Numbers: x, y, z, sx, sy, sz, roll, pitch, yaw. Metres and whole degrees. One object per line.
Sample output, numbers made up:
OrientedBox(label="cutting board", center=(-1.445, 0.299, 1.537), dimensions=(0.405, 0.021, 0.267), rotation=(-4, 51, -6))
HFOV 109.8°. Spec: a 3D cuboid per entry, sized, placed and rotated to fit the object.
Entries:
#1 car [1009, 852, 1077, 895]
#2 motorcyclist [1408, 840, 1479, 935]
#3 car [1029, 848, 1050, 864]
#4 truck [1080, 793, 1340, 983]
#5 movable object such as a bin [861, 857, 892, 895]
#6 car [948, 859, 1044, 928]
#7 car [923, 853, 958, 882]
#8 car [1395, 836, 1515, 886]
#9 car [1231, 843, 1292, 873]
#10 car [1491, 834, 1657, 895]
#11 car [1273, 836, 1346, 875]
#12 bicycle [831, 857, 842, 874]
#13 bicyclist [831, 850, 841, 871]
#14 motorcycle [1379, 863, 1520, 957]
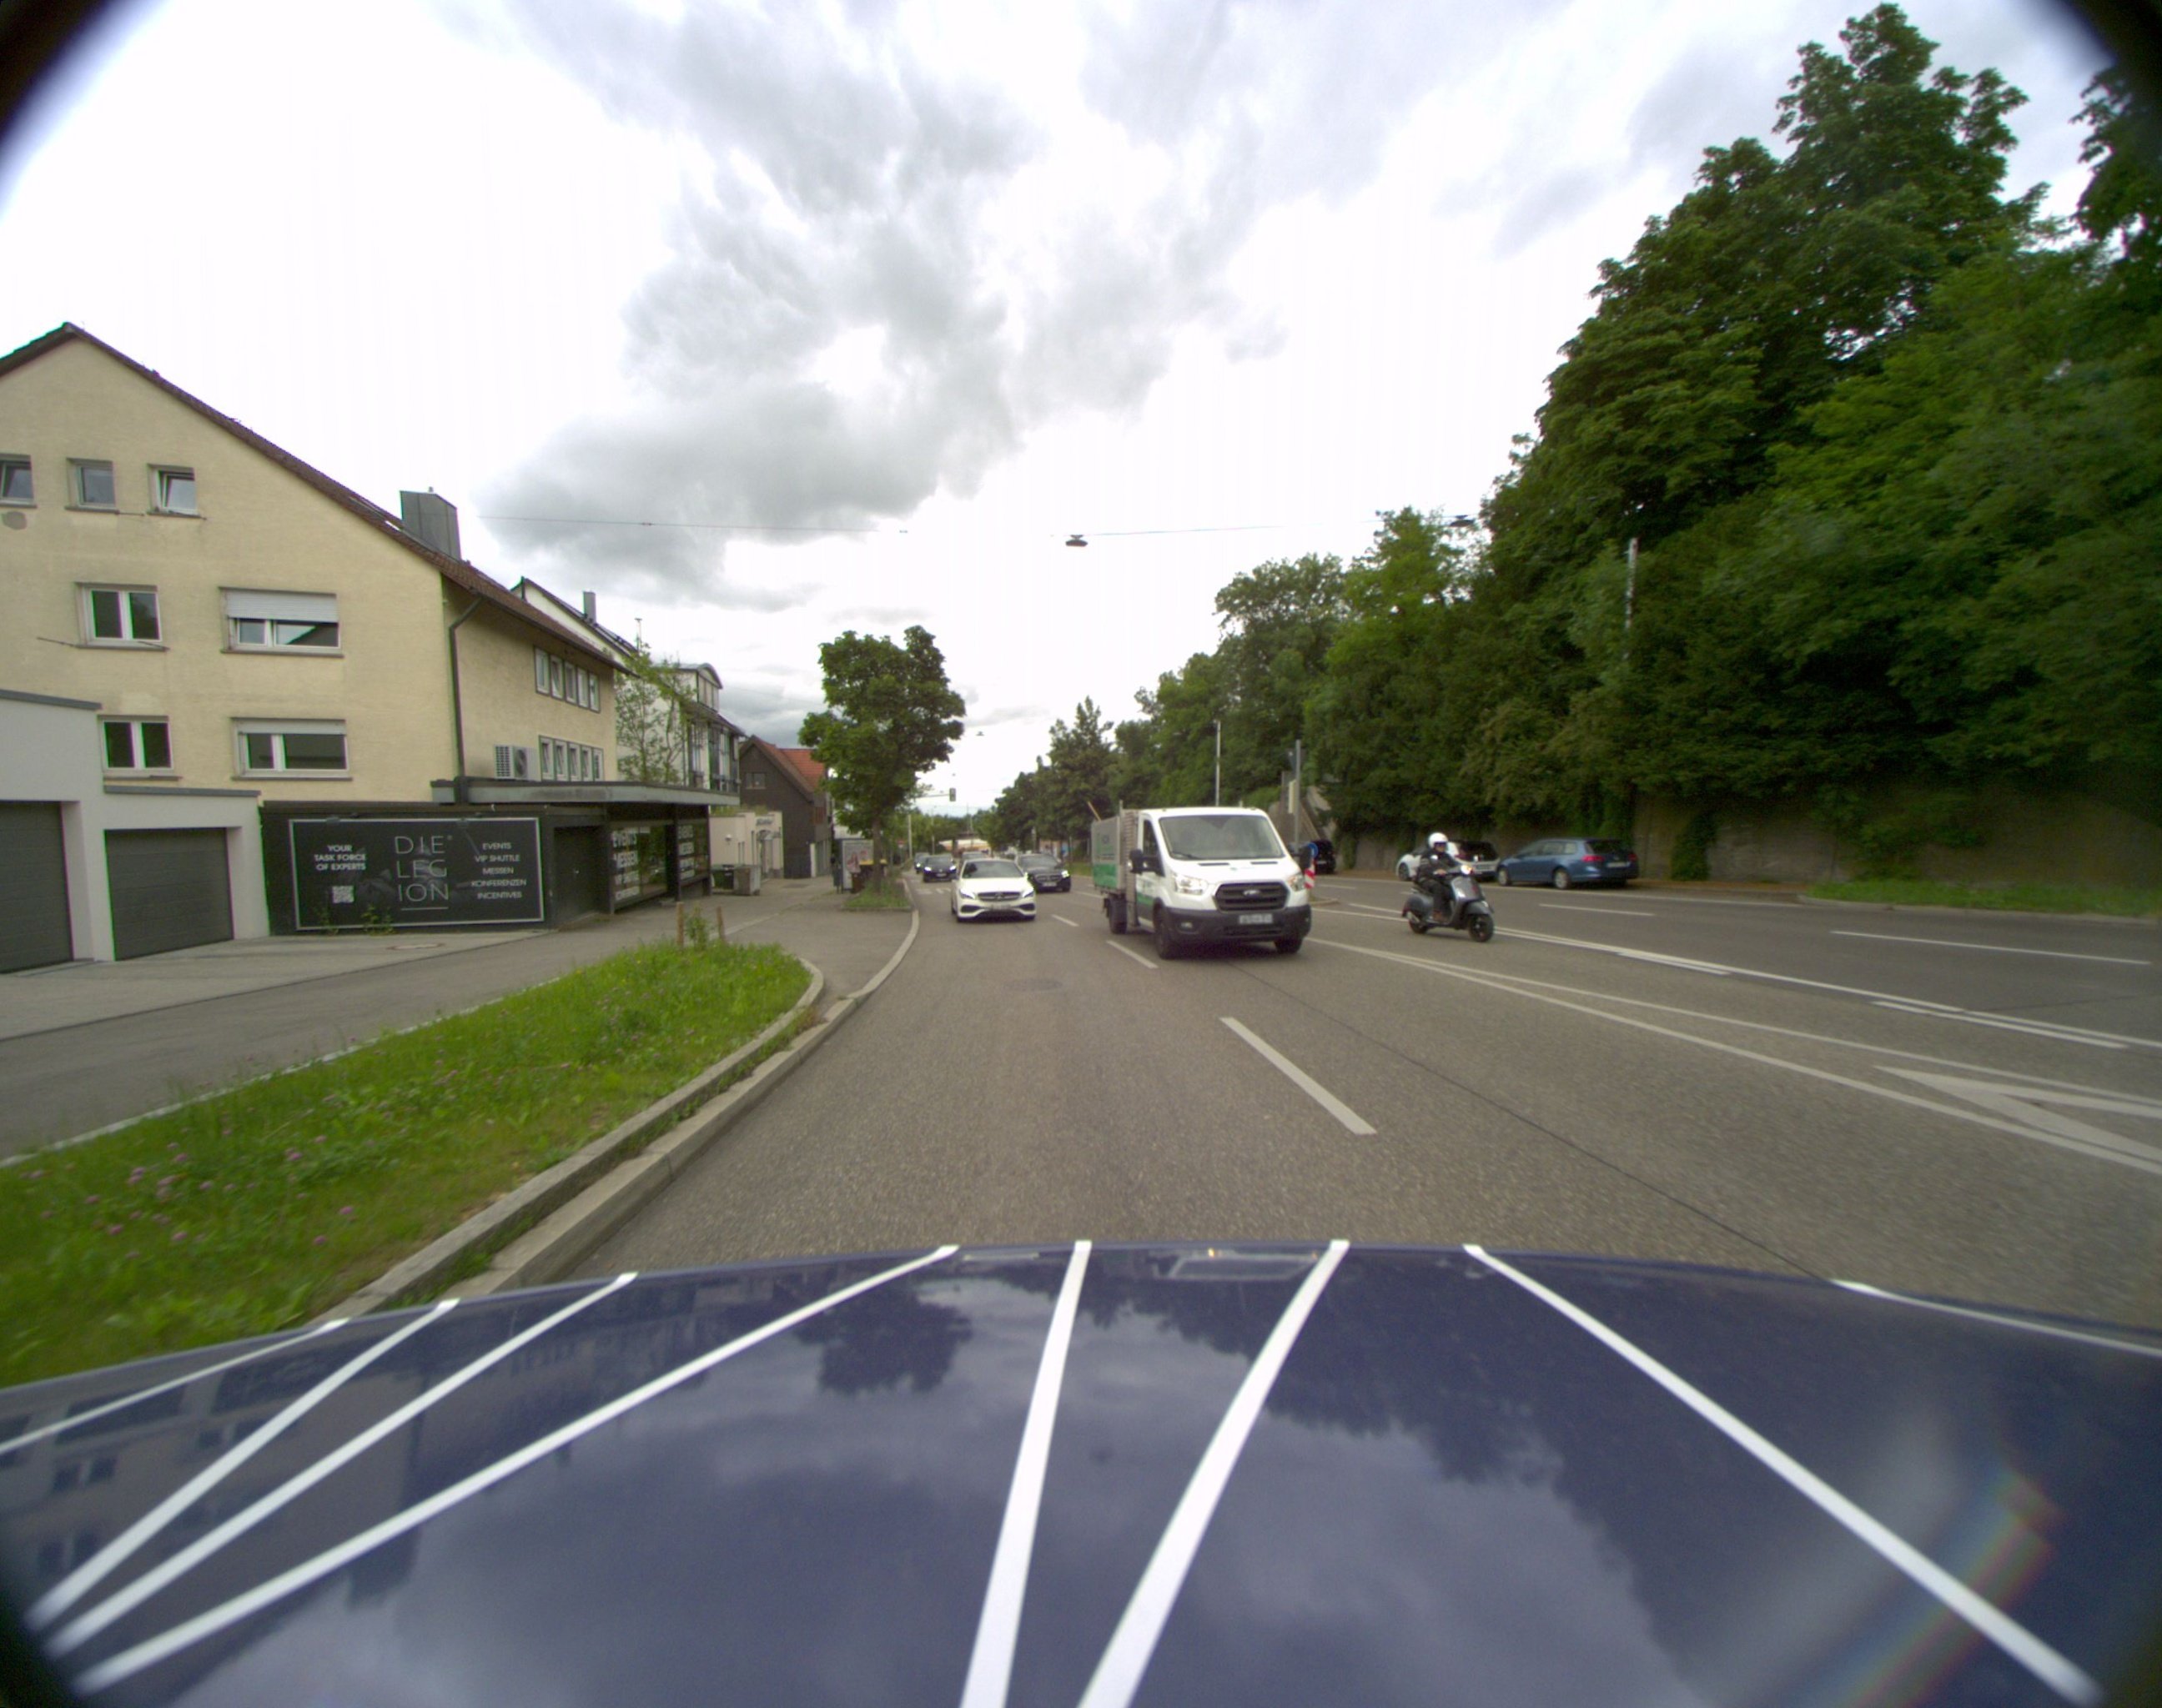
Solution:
OrientedBox(label="car", center=(-1.571, 0.704, 29.616), dimensions=(1.917, 1.472, 4.395), rotation=(-3, 0, -12))
OrientedBox(label="motorcyclist", center=(5.640, 0.504, 11.851), dimensions=(0.685, 1.410, 0.722), rotation=(-1, 1, -14))
OrientedBox(label="car", center=(-5.378, 0.269, 98.430), dimensions=(1.945, 1.946, 5.016), rotation=(-1, 0, -12))
OrientedBox(label="truck", center=(1.659, 0.370, 12.660), dimensions=(2.082, 2.308, 6.324), rotation=(-2, 1, -11))
OrientedBox(label="movable object such as a bin", center=(-8.377, 0.892, 31.225), dimensions=(1.089, 1.473, 1.535), rotation=(-2, 0, -12))
OrientedBox(label="car", center=(-2.144, 0.849, 18.255), dimensions=(1.819, 1.391, 3.995), rotation=(-2, 0, -13))
OrientedBox(label="car", center=(-8.230, 0.781, 44.275), dimensions=(1.779, 1.532, 3.996), rotation=(-3, 0, -13))
OrientedBox(label="car", center=(13.491, 0.238, 27.709), dimensions=(1.786, 1.619, 4.167), rotation=(-3, 0, -10))
OrientedBox(label="car", center=(10.684, 0.225, 45.354), dimensions=(1.976, 1.647, 4.528), rotation=(-2, 1, -9))
OrientedBox(label="car", center=(14.011, 0.283, 21.940), dimensions=(1.717, 1.519, 4.299), rotation=(-2, 0, -5))
OrientedBox(label="car", center=(11.866, 0.080, 39.746), dimensions=(1.786, 1.832, 4.484), rotation=(-3, 0, -10))
OrientedBox(label="bicycle", center=(-18.950, 0.914, 58.938), dimensions=(0.573, 1.254, 2.036), rotation=(-1, -1, -13))
OrientedBox(label="bicyclist", center=(-18.882, 0.489, 58.604), dimensions=(0.539, 1.624, 0.946), rotation=(-2, 0, -12))
OrientedBox(label="motorcycle", center=(5.623, 0.799, 11.755), dimensions=(0.830, 1.291, 2.043), rotation=(-1, 0, -14))
